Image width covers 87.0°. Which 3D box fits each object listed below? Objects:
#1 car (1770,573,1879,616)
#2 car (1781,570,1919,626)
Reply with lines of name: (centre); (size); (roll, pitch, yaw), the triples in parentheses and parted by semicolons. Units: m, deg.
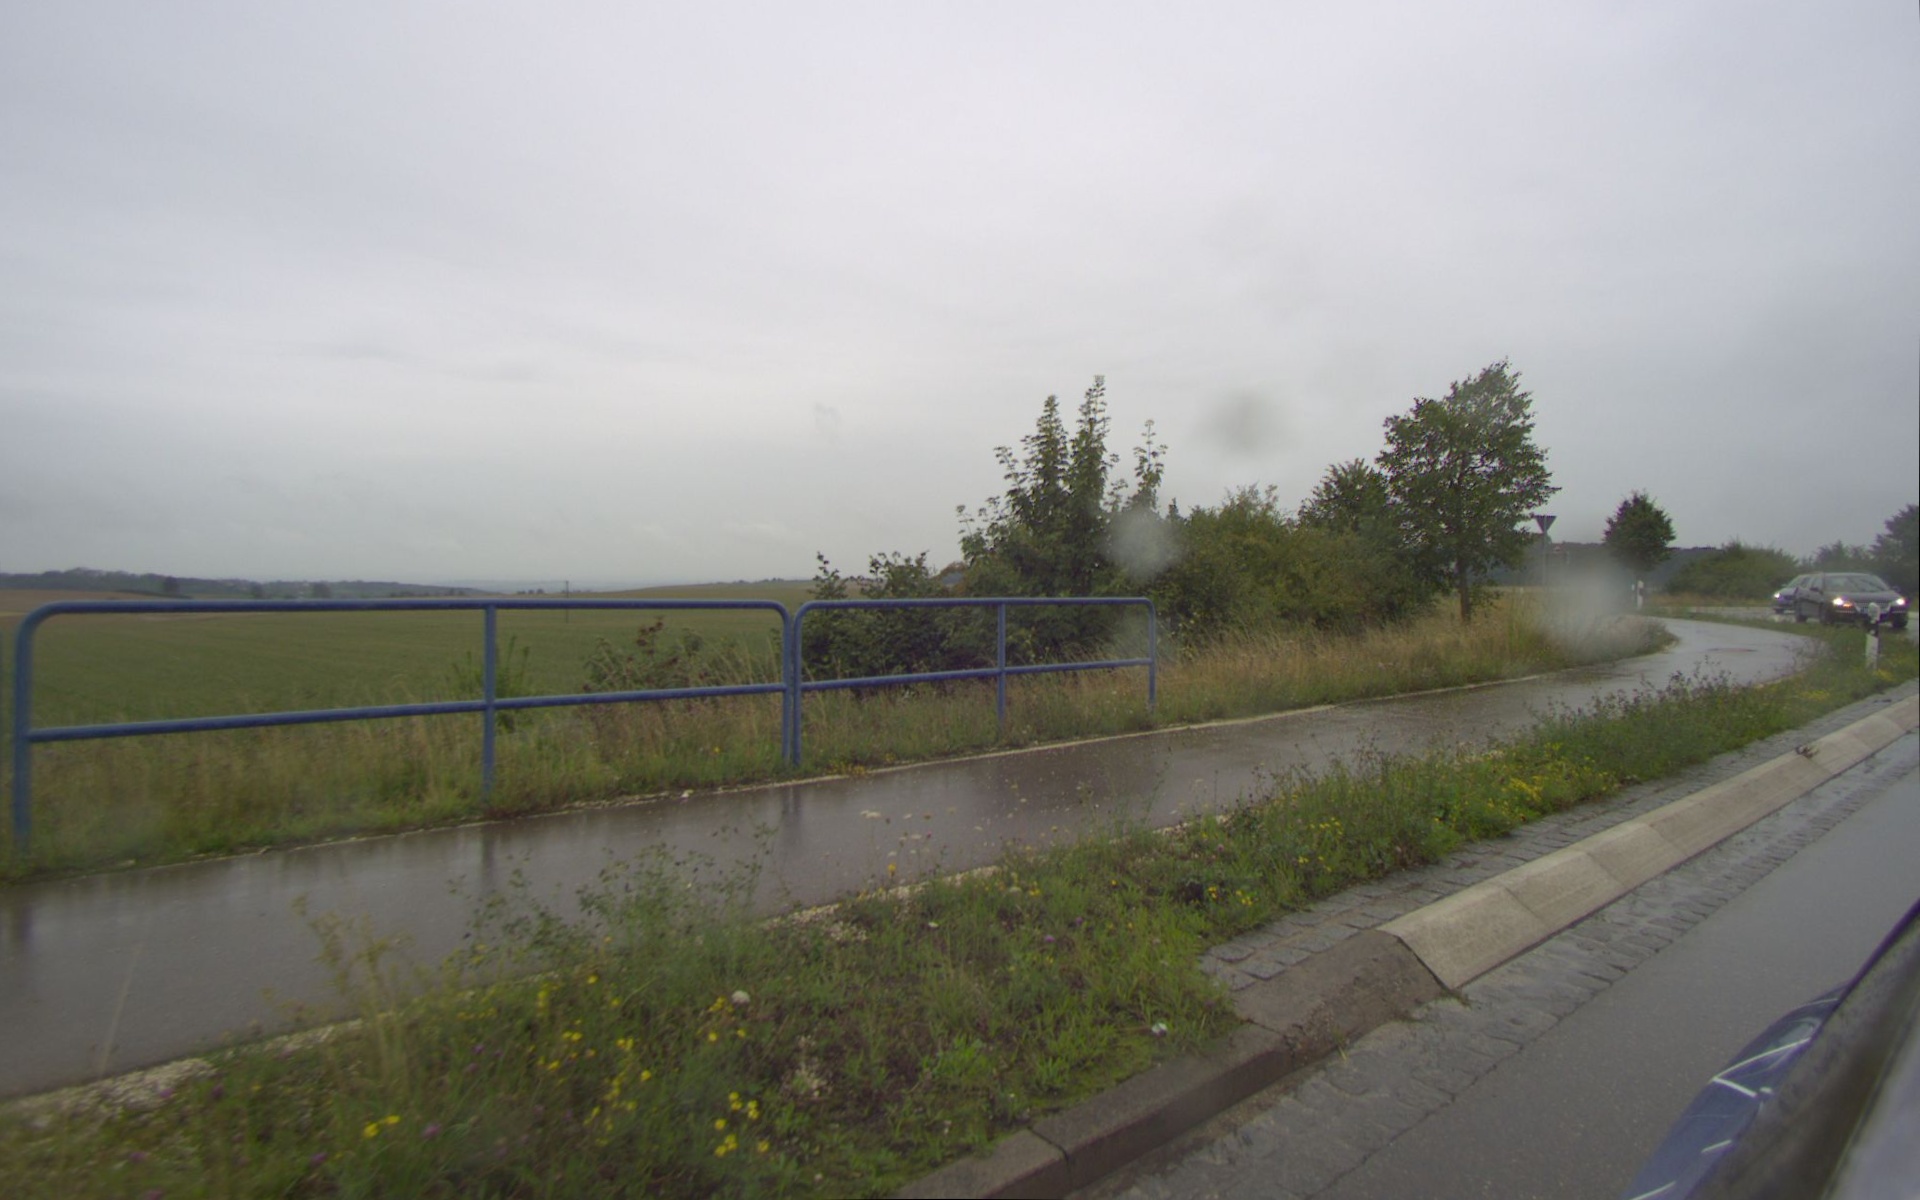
car: (31.968, -0.189, 37.400); (4.414, 1.438, 1.766); (1, 1, -31)
car: (24.967, -0.063, 28.282); (1.929, 1.388, 4.468); (3, 1, 23)
